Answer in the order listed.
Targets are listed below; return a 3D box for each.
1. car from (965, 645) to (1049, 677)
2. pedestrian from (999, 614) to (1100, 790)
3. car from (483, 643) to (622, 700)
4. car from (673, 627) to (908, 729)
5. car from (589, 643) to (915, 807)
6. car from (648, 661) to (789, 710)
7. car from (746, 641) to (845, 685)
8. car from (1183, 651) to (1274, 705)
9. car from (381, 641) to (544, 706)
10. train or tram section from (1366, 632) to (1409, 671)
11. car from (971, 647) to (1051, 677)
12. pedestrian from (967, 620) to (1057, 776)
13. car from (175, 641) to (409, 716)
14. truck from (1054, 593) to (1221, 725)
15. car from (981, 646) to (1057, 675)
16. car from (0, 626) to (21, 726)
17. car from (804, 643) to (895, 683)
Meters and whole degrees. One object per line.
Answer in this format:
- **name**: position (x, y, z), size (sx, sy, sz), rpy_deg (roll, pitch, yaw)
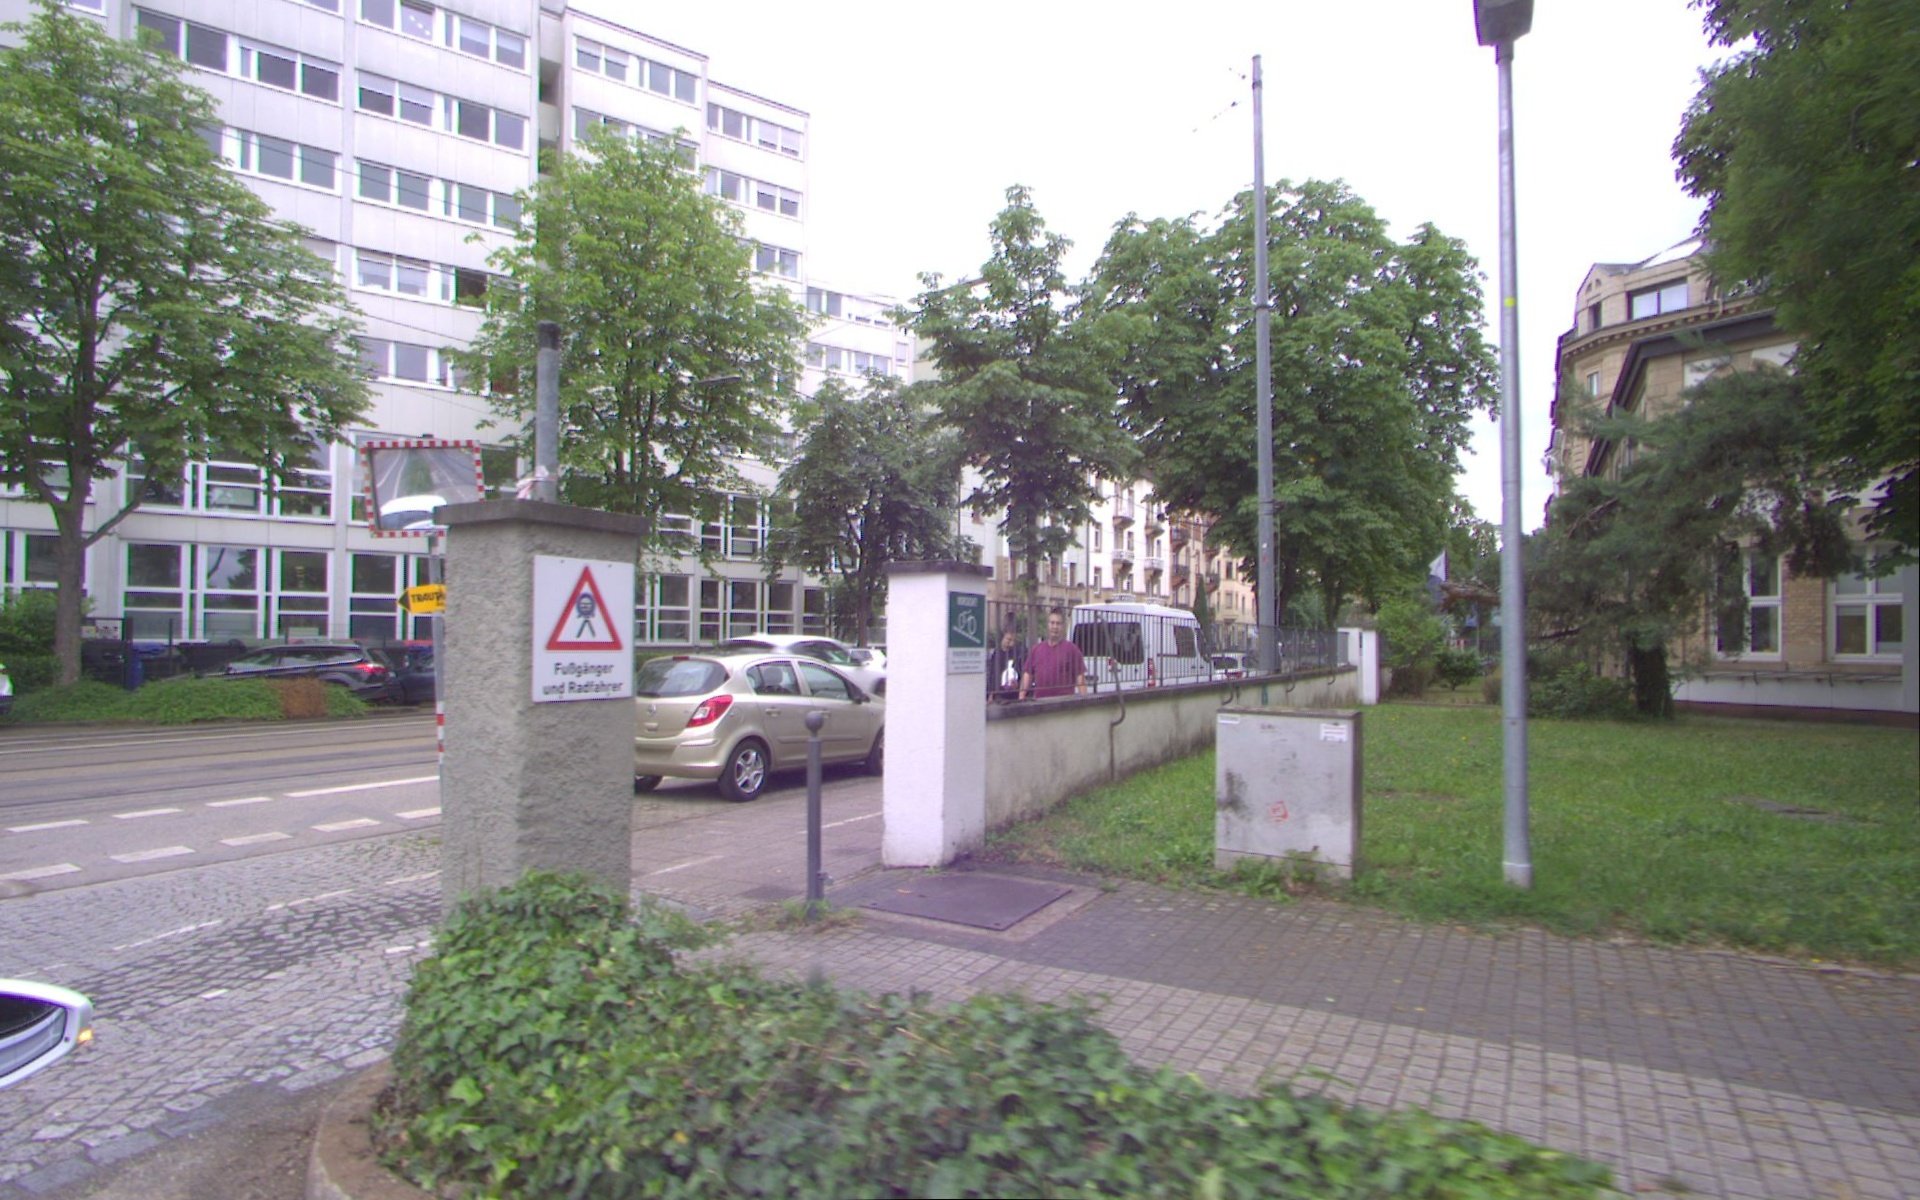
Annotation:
- **car**: position (2.206, 2.884, 47.432), size (3.724, 1.460, 1.692), rpy_deg (1, -2, -9)
- **pedestrian**: position (0.951, 1.031, 10.500), size (0.795, 1.740, 0.953), rpy_deg (0, -2, 23)
- **car**: position (-11.059, 1.923, 27.370), size (3.328, 1.492, 1.415), rpy_deg (0, -2, -14)
- **car**: position (-3.104, 1.421, 19.325), size (1.971, 1.724, 4.581), rpy_deg (-1, -3, 31)
- **car**: position (-2.171, 1.265, 11.349), size (1.641, 1.519, 3.579), rpy_deg (-1, -3, 30)
- **car**: position (-7.960, 2.806, 32.993), size (4.420, 1.491, 1.416), rpy_deg (1, -4, -18)
- **car**: position (-5.836, 2.210, 35.443), size (3.328, 1.492, 1.415), rpy_deg (1, -2, -14)
- **car**: position (7.665, 2.156, 28.349), size (1.783, 1.371, 3.799), rpy_deg (-1, -2, 27)
- **car**: position (-12.044, 1.761, 24.425), size (3.328, 1.492, 1.415), rpy_deg (0, -2, -14)
- **train or tram section**: position (43.695, 5.174, 102.144), size (2.628, 3.660, 12.406), rpy_deg (0, -2, 30)
- **car**: position (2.535, 3.082, 50.257), size (3.724, 1.460, 1.692), rpy_deg (1, -2, -9)
- **pedestrian**: position (0.627, 1.124, 11.830), size (0.789, 1.740, 0.953), rpy_deg (-1, -2, 23)
- **car**: position (-14.339, 1.651, 21.737), size (3.885, 1.492, 1.671), rpy_deg (1, -2, -18)
- **truck**: position (4.077, 1.279, 22.281), size (2.137, 2.578, 4.908), rpy_deg (0, -2, 30)
- **car**: position (3.077, 3.146, 52.516), size (3.724, 1.460, 1.692), rpy_deg (1, -2, -9)
- **car**: position (-17.387, 1.229, 15.844), size (3.344, 1.638, 1.556), rpy_deg (0, -2, -12)
- **car**: position (-4.279, 2.405, 38.743), size (3.328, 1.492, 1.415), rpy_deg (1, -2, -14)
